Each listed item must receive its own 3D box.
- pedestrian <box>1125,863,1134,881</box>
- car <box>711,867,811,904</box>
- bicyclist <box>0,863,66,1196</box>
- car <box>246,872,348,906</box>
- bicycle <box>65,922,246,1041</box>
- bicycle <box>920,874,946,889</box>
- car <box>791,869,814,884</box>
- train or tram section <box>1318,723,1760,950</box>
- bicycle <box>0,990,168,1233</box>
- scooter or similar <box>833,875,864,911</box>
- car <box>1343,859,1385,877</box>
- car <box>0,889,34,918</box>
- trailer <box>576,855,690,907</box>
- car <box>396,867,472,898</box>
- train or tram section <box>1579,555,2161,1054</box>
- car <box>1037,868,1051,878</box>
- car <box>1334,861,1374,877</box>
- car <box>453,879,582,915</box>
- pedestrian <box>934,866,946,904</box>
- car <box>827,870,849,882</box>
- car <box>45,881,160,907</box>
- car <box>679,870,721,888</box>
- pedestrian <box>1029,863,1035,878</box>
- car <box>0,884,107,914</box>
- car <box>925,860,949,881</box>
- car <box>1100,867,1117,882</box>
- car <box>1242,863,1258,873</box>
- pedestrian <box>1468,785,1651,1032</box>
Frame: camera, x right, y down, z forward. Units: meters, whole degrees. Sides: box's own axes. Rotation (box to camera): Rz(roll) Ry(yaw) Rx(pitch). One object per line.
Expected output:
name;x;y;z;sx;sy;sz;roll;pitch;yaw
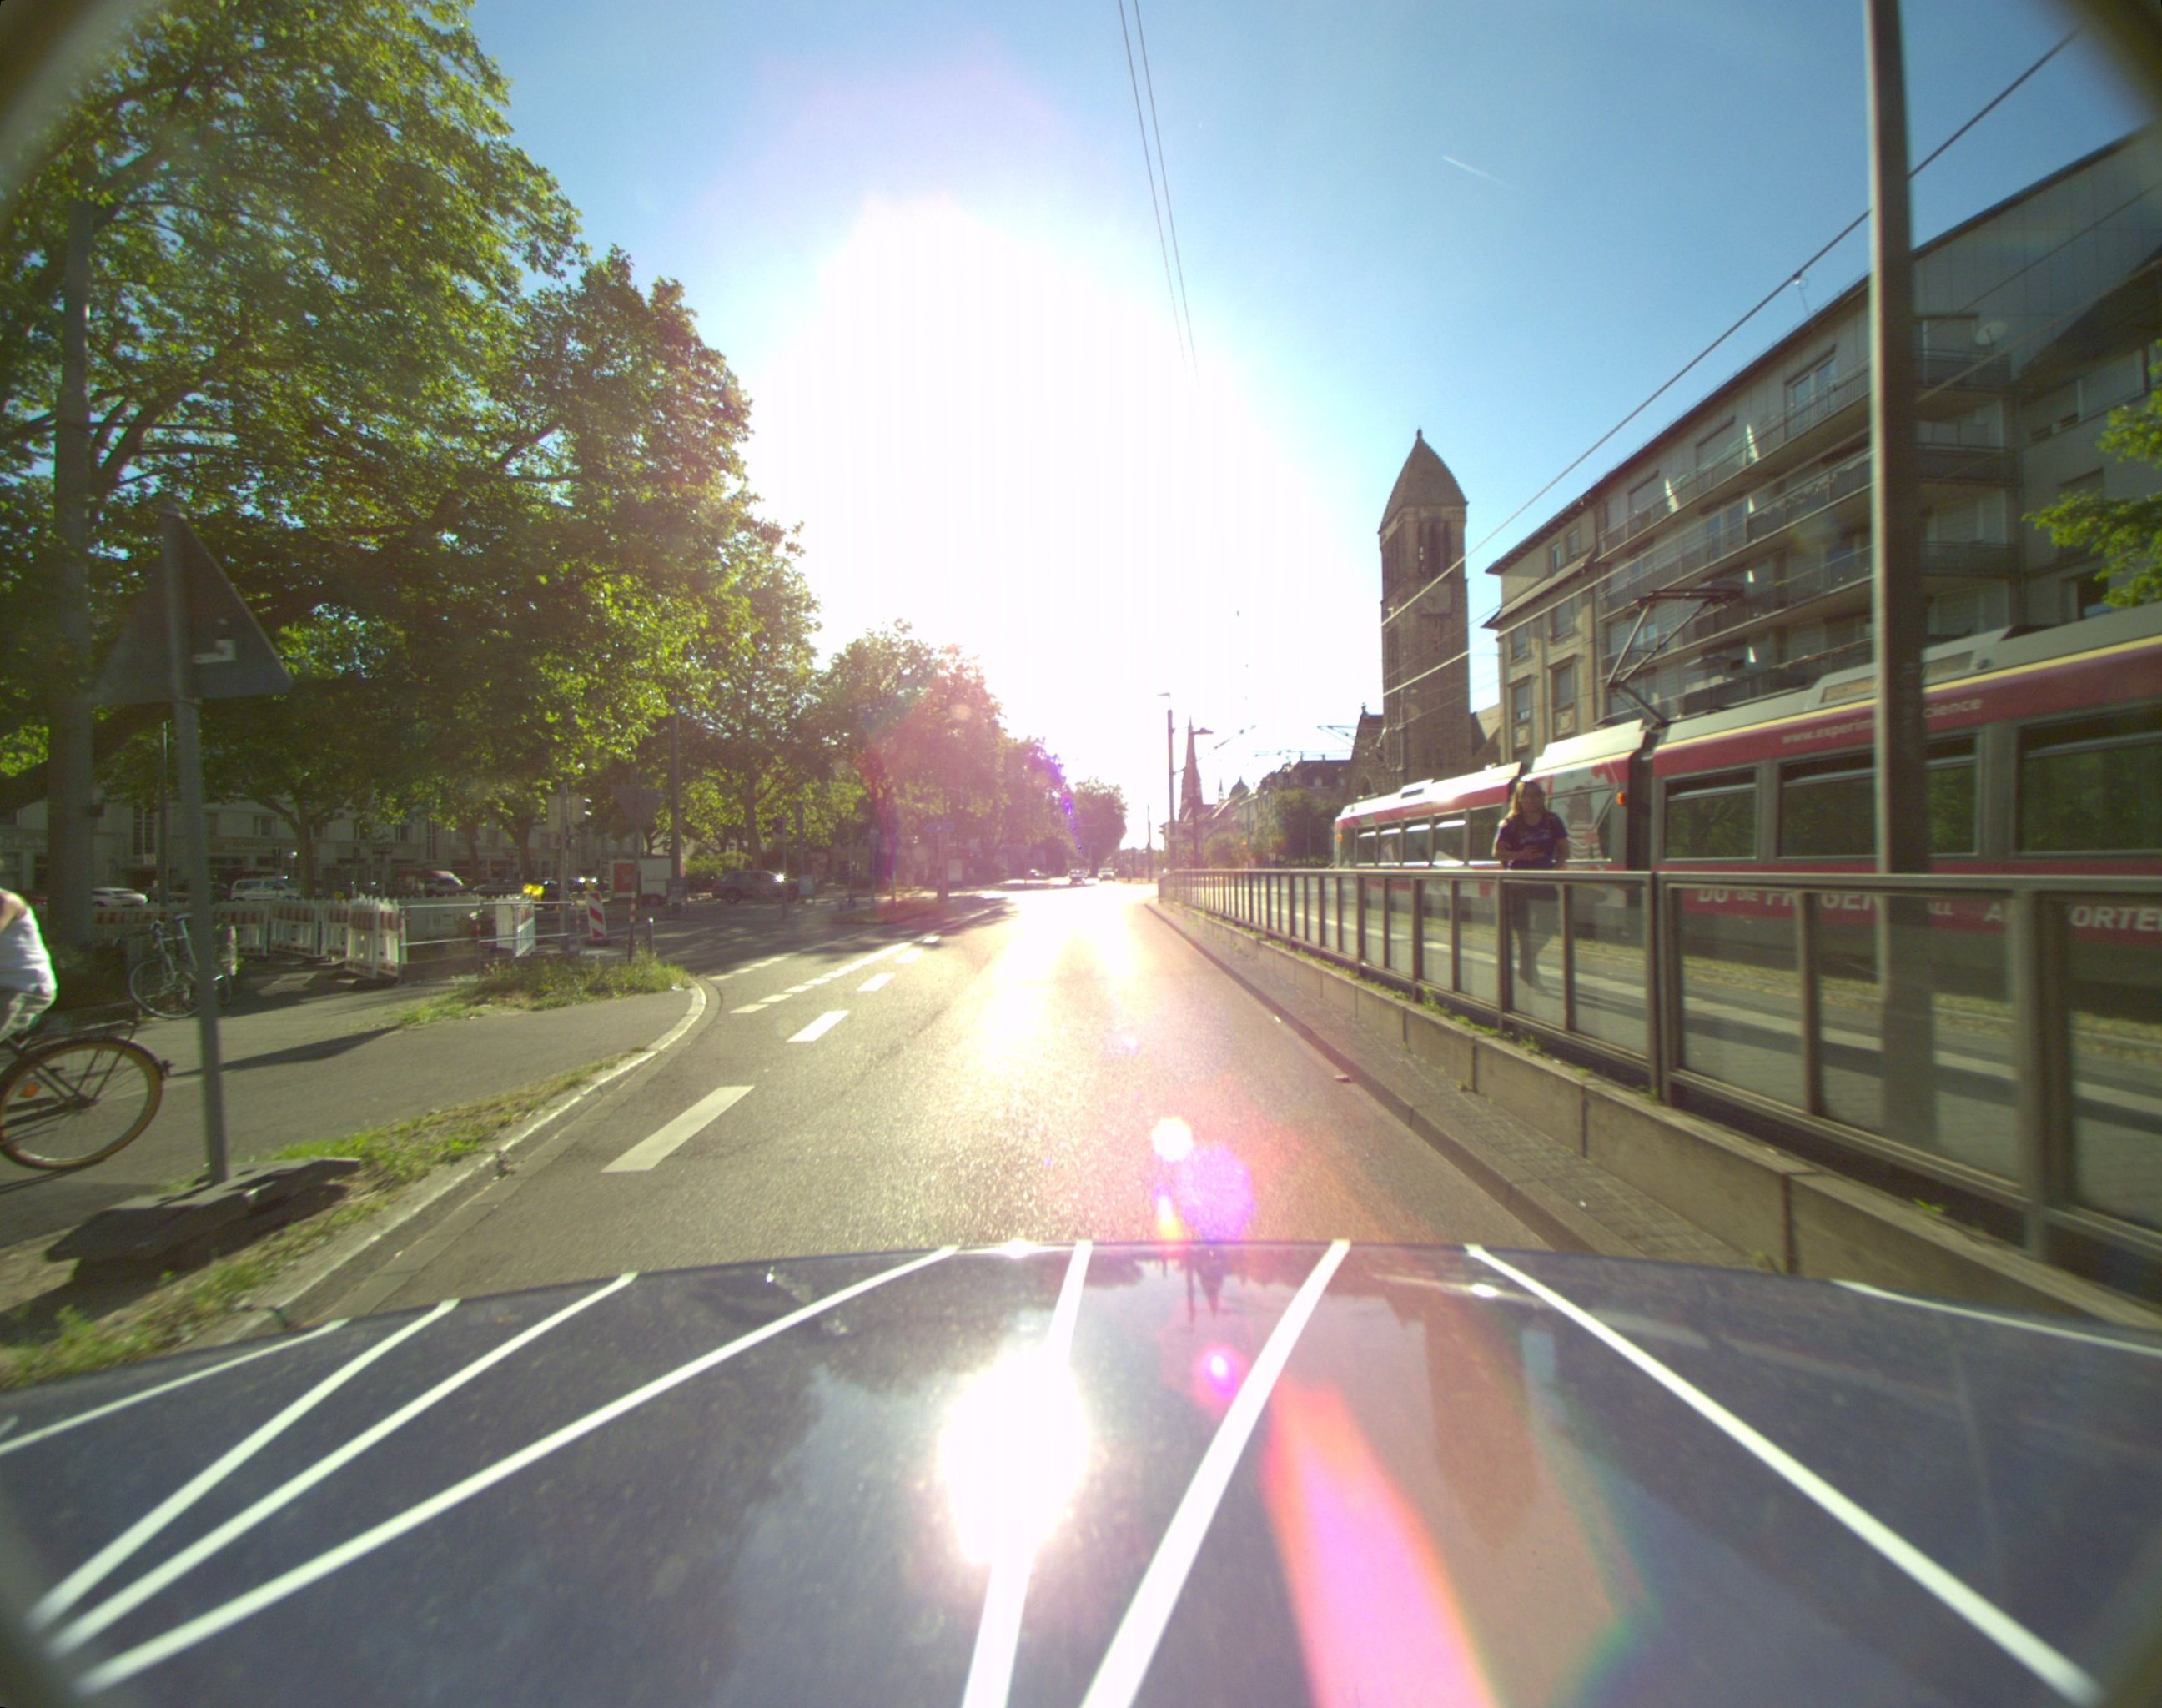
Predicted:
pedestrian;4.602;1.706;71.686;0.678;1.611;0.925;-3;0;-1
car;-16.454;1.614;39.291;4.584;1.630;1.933;-3;-1;-21
bicyclist;-5.324;0.815;3.321;0.604;1.541;0.860;-1;0;0
car;-46.979;2.081;45.571;4.349;1.859;1.763;1;0;2
bicycle;-9.894;1.303;8.220;0.606;1.020;1.949;0;-2;-31
bicycle;-11.337;2.081;58.241;1.827;1.047;0.534;-2;-1;-25
car;-38.459;3.096;104.990;1.710;2.015;4.180;-2;-2;-2
train or tram section;9.705;-0.191;19.612;2.876;3.653;14.563;-1;-1;1
bicycle;-5.321;1.247;3.282;0.604;1.020;1.767;-1;-1;0
scooter or similar;-8.498;1.425;27.797;0.561;1.250;1.291;0;0;9
car;32.385;1.589;87.058;4.024;1.795;1.870;-3;0;2
car;-58.550;2.600;40.173;4.347;1.471;1.825;1;0;7
trailer;-21.876;1.291;37.296;4.520;2.359;1.911;-1;-1;-21
car;-58.164;2.546;68.361;5.064;2.651;2.168;1;0;2
train or tram section;9.370;-0.383;5.005;2.876;3.663;14.563;-1;-1;1
car;-5.308;2.802;110.268;1.720;1.318;3.755;-3;-1;2
car;32.251;1.769;89.844;4.040;1.620;1.769;-3;0;2
car;-26.162;1.971;35.476;4.442;1.352;1.933;-3;-1;-21
pedestrian;-6.140;1.331;33.092;0.429;1.629;0.613;-2;-1;-6
car;-33.443;3.012;104.784;1.710;1.650;4.180;-2;-2;-2
car;-58.418;2.379;45.419;4.351;1.471;1.730;1;0;-4
car;-46.623;3.050;92.952;3.996;1.905;2.048;-3;0;2
pedestrian;-6.422;2.173;100.104;0.631;1.832;0.540;-3;0;-1
car;-58.162;2.521;42.940;4.347;1.471;1.825;1;0;7
car;-19.765;2.233;104.469;1.998;2.725;4.716;-3;-1;2
car;2.922;2.151;81.587;1.636;1.490;4.001;-3;-1;1
car;27.287;2.272;122.870;1.786;1.521;4.215;-3;-1;2
pedestrian;3.416;0.365;5.517;0.631;1.600;0.982;-3;0;-1
